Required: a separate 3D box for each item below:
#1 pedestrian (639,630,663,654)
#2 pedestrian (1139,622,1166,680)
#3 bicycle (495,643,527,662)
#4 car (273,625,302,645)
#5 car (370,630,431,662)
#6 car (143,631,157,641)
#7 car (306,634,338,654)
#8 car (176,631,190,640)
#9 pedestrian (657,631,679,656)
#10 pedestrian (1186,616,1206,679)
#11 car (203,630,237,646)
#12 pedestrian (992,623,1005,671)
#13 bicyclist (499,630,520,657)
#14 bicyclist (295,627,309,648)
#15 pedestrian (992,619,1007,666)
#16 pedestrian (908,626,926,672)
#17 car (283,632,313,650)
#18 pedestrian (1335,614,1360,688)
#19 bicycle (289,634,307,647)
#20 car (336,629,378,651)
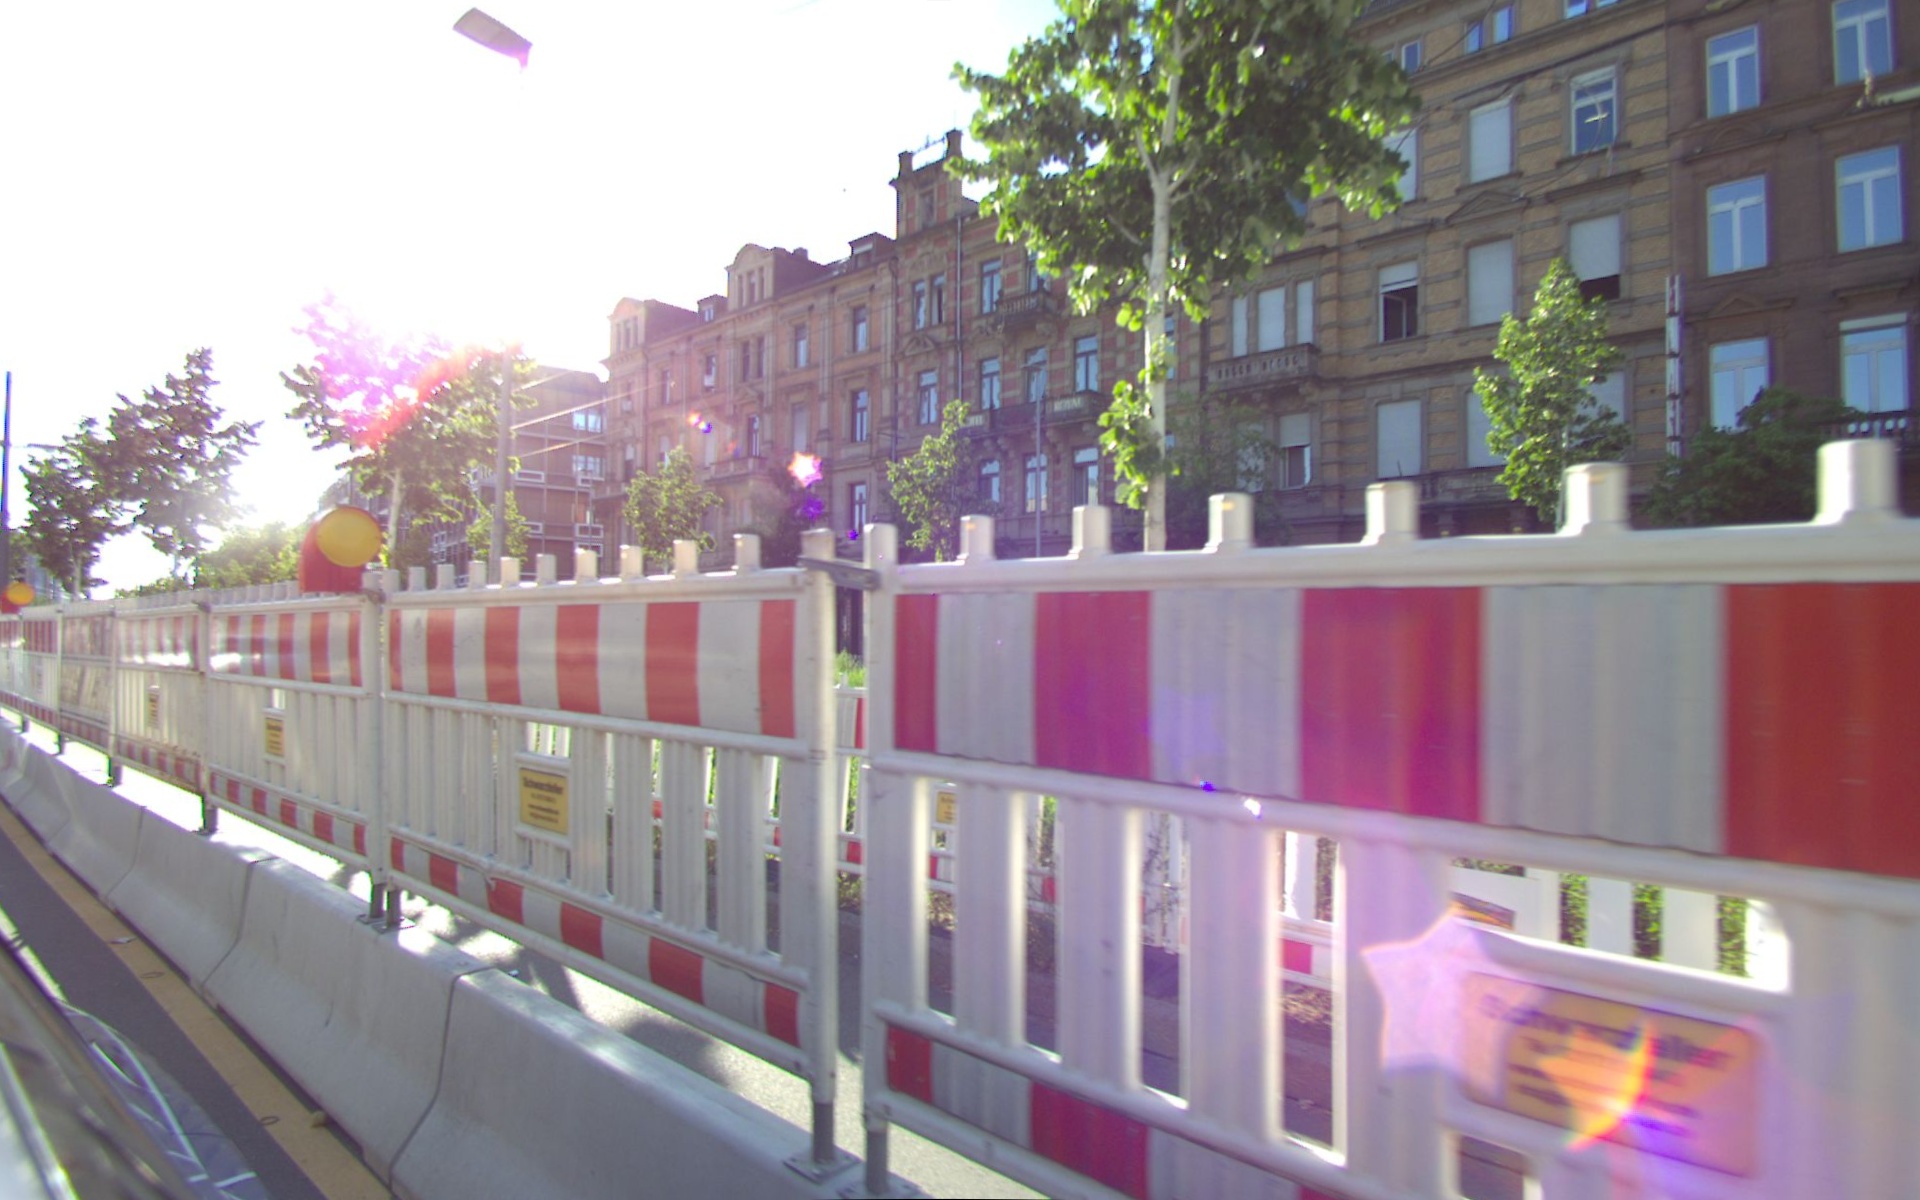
[{"bbox_3d":[-15.619,2.124,51.168,0.929,1.217,0.782,-1,-2,43],"label":"pedestrian"},{"bbox_3d":[5.452,1.435,28.652,0.533,1.597,0.481,-1,0,42],"label":"pedestrian"},{"bbox_3d":[-21.039,2.449,47.398,2.031,0.864,0.630,-2,-2,43],"label":"bicycle"},{"bbox_3d":[-61.243,3.163,92.143,1.729,1.785,4.337,0,-2,-40],"label":"car"},{"bbox_3d":[-27.121,2.184,49.027,3.623,1.494,1.577,-2,-3,43],"label":"car"},{"bbox_3d":[-144.298,6.330,180.277,1.707,1.760,4.126,1,-2,-42],"label":"car"},{"bbox_3d":[-50.847,3.473,80.645,1.628,1.566,3.972,1,-2,-40],"label":"car"},{"bbox_3d":[-131.292,6.049,171.012,1.607,1.507,3.785,2,-3,-41],"label":"car"},{"bbox_3d":[-14.601,2.159,50.646,0.929,1.217,0.682,-1,-2,43],"label":"pedestrian"},{"bbox_3d":[6.775,1.347,29.058,0.406,1.778,0.363,-1,0,42],"label":"pedestrian"},{"bbox_3d":[-69.920,3.557,95.648,4.069,1.431,1.833,-2,-1,43],"label":"car"},{"bbox_3d":[1.297,1.592,34.117,0.401,1.597,0.367,-1,0,2],"label":"pedestrian"},{"bbox_3d":[-21.175,2.018,47.542,0.738,1.249,0.630,-2,-2,43],"label":"bicyclist"},{"bbox_3d":[-50.767,2.894,78.080,0.882,1.670,0.687,-1,-2,43],"label":"bicyclist"},{"bbox_3d":[1.349,1.440,34.554,0.476,1.597,0.483,-1,0,4],"label":"pedestrian"},{"bbox_3d":[-1.499,1.698,35.328,0.425,1.597,0.399,-1,0,42],"label":"pedestrian"},{"bbox_3d":[-55.084,3.394,84.229,1.604,1.452,3.824,0,-1,-40],"label":"car"},{"bbox_3d":[9.547,1.250,24.949,0.406,1.778,0.503,-1,0,39],"label":"pedestrian"},{"bbox_3d":[-50.994,3.092,77.971,1.827,0.985,0.687,-1,-2,43],"label":"bicycle"},{"bbox_3d":[-42.493,2.806,71.299,1.710,1.472,3.904,-2,0,-43],"label":"car"}]
